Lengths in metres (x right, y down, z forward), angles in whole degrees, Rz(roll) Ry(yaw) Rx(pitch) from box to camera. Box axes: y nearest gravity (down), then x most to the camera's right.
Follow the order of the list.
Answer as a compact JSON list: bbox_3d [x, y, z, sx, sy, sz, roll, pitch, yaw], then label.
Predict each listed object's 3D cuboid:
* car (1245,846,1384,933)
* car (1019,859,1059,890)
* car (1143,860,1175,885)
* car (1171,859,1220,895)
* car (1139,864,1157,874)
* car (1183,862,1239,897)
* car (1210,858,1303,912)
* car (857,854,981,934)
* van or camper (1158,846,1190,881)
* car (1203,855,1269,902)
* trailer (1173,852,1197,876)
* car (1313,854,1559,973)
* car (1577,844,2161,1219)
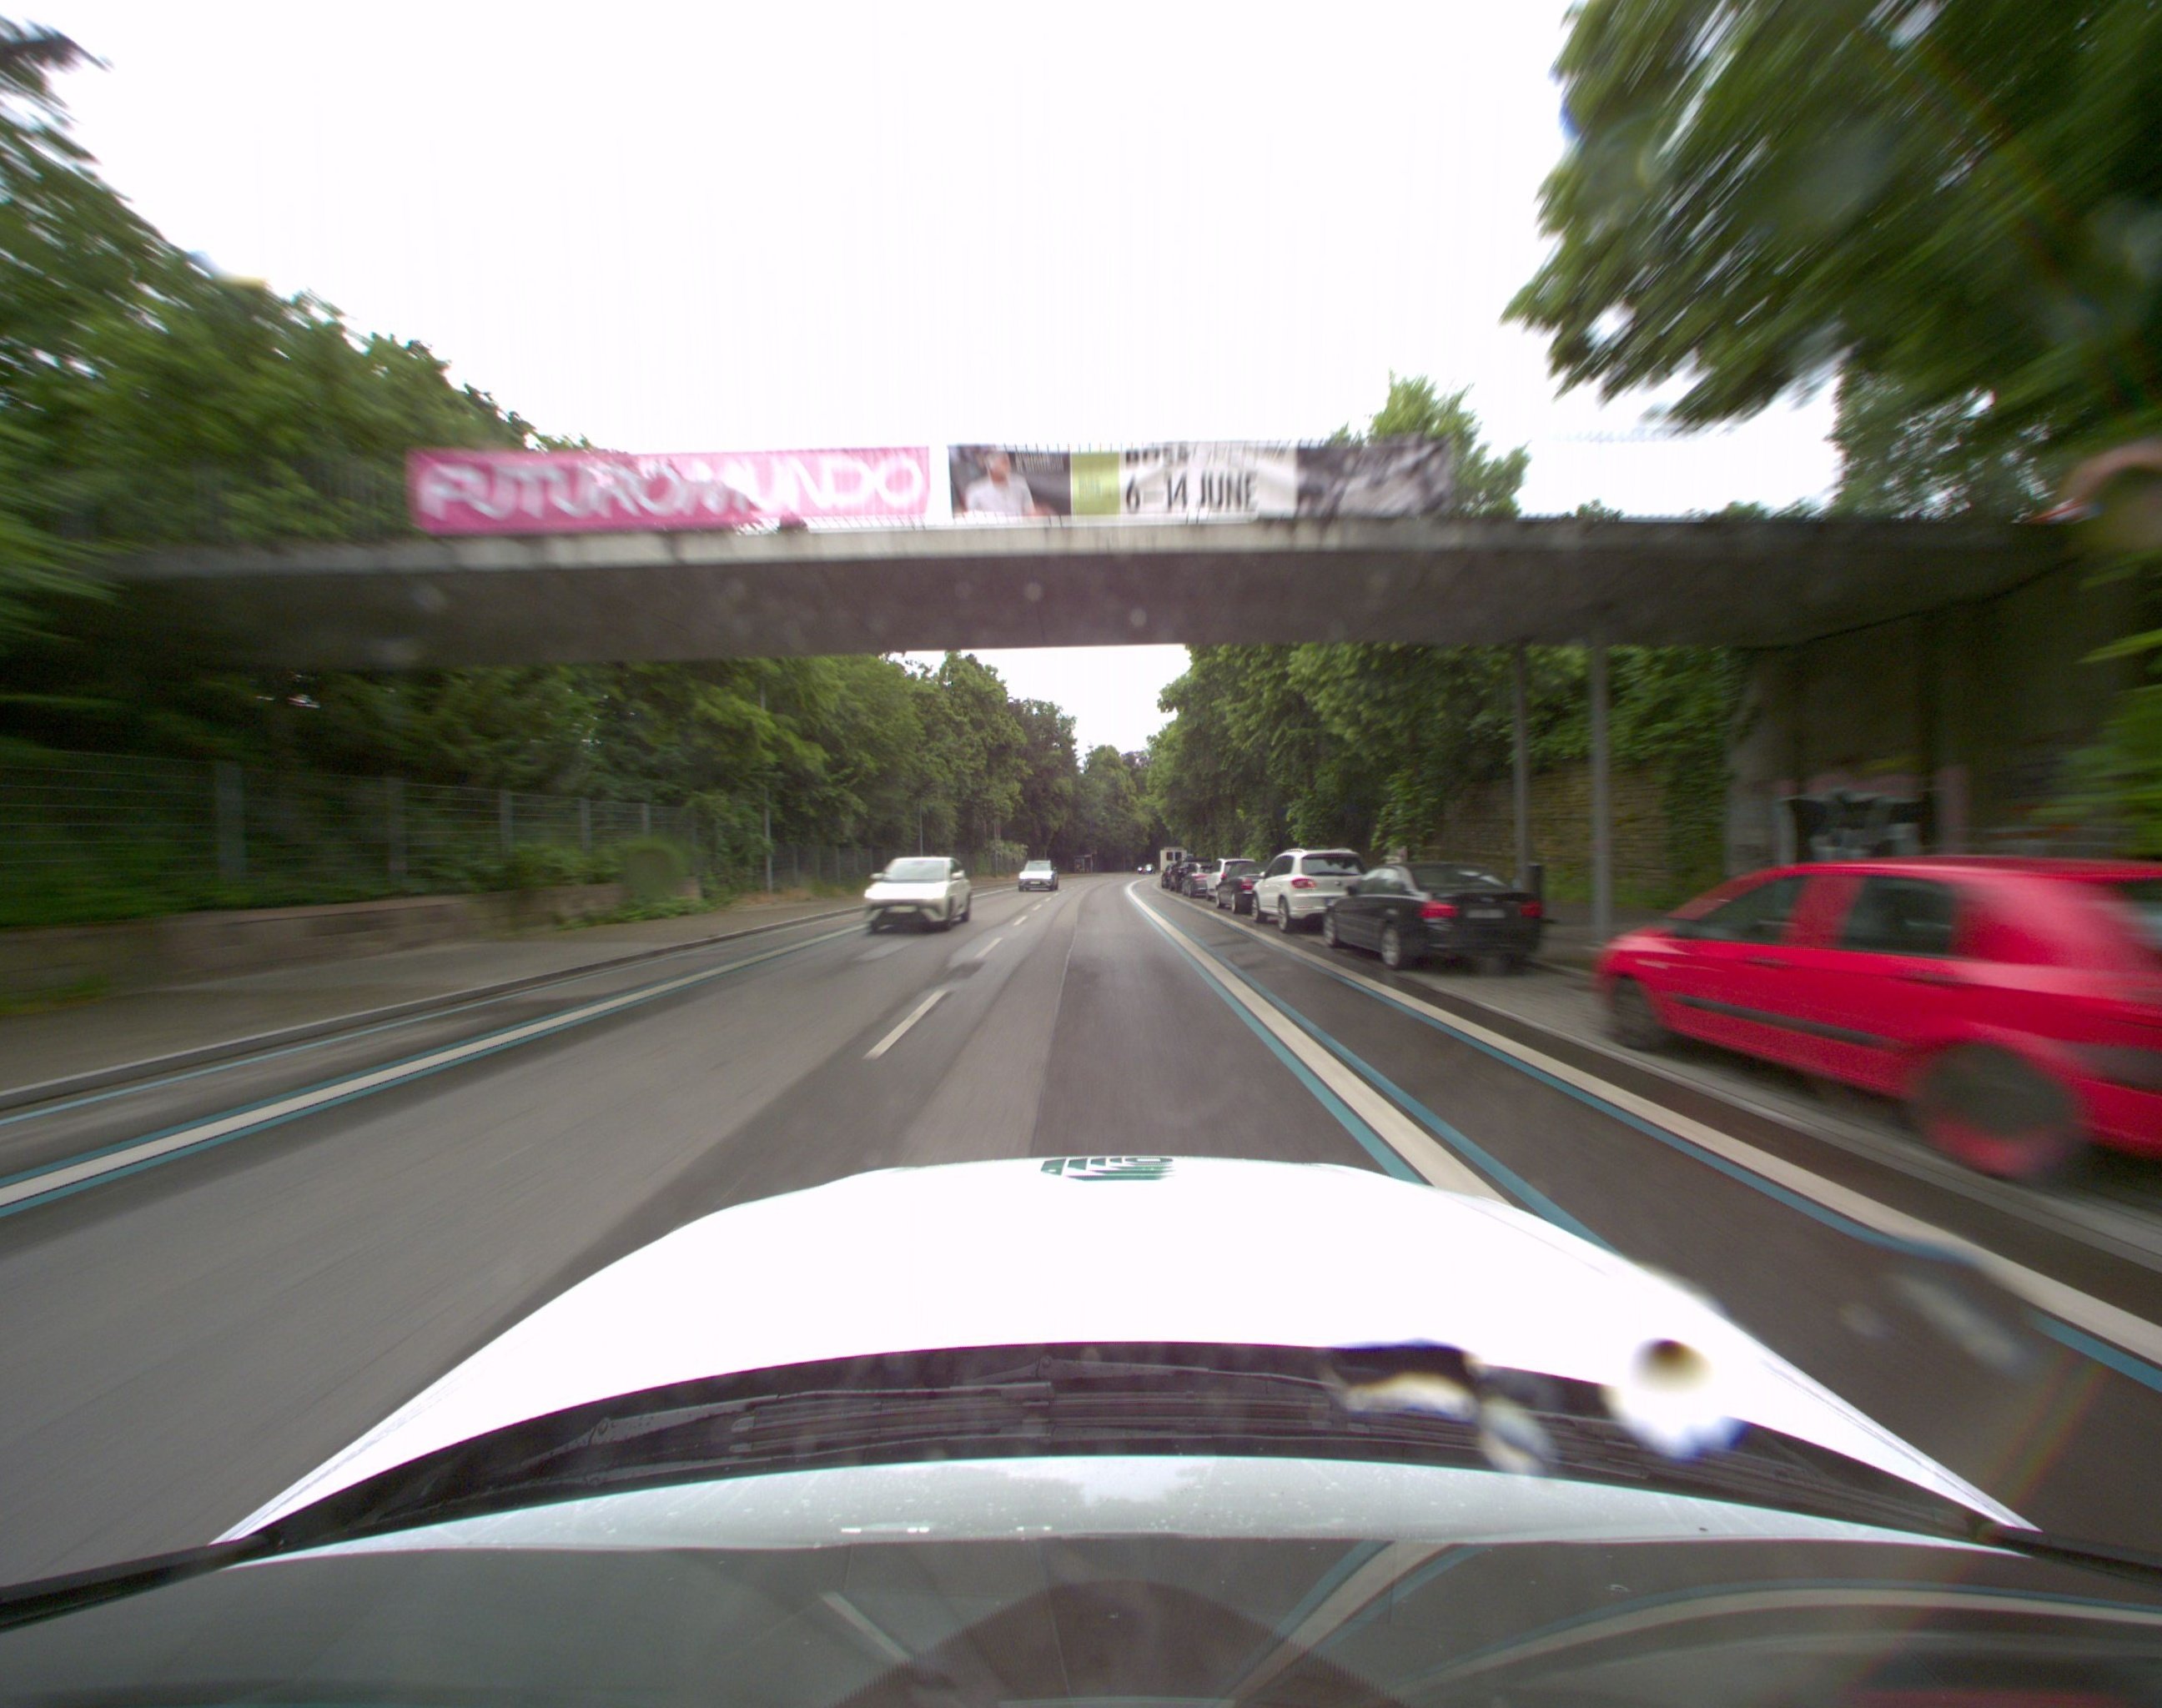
[{"bbox_3d":[4.842,0.697,17.527,1.708,1.619,4.259,-1,-1,-1],"label":"car"},{"bbox_3d":[-2.212,1.085,43.544,1.789,1.577,4.103,-1,-1,1],"label":"car"},{"bbox_3d":[4.584,1.083,48.000,1.671,1.376,4.002,-1,-2,3],"label":"car"},{"bbox_3d":[5.581,1.153,40.308,1.985,1.645,4.350,-1,-2,3],"label":"car"},{"bbox_3d":[9.733,2.120,117.698,1.746,1.437,4.169,-1,-1,17],"label":"car"},{"bbox_3d":[5.255,1.027,33.293,1.768,1.348,4.469,0,-1,3],"label":"car"},{"bbox_3d":[4.900,0.881,23.346,1.712,1.376,4.557,-1,-2,0],"label":"car"},{"bbox_3d":[-3.479,0.800,18.229,1.965,1.552,3.870,-1,0,0],"label":"car"},{"bbox_3d":[7.413,0.764,64.422,2.304,2.665,6.396,0,-1,8],"label":"van or camper"},{"bbox_3d":[5.351,0.830,28.478,1.655,1.535,3.741,0,-1,1],"label":"car"},{"bbox_3d":[11.938,1.128,93.184,2.301,2.672,5.392,0,-1,11],"label":"trailer"},{"bbox_3d":[4.863,0.754,11.932,1.667,1.393,4.449,-1,-1,0],"label":"car"},{"bbox_3d":[4.937,0.692,5.068,1.553,1.466,3.626,-1,1,1],"label":"car"}]
